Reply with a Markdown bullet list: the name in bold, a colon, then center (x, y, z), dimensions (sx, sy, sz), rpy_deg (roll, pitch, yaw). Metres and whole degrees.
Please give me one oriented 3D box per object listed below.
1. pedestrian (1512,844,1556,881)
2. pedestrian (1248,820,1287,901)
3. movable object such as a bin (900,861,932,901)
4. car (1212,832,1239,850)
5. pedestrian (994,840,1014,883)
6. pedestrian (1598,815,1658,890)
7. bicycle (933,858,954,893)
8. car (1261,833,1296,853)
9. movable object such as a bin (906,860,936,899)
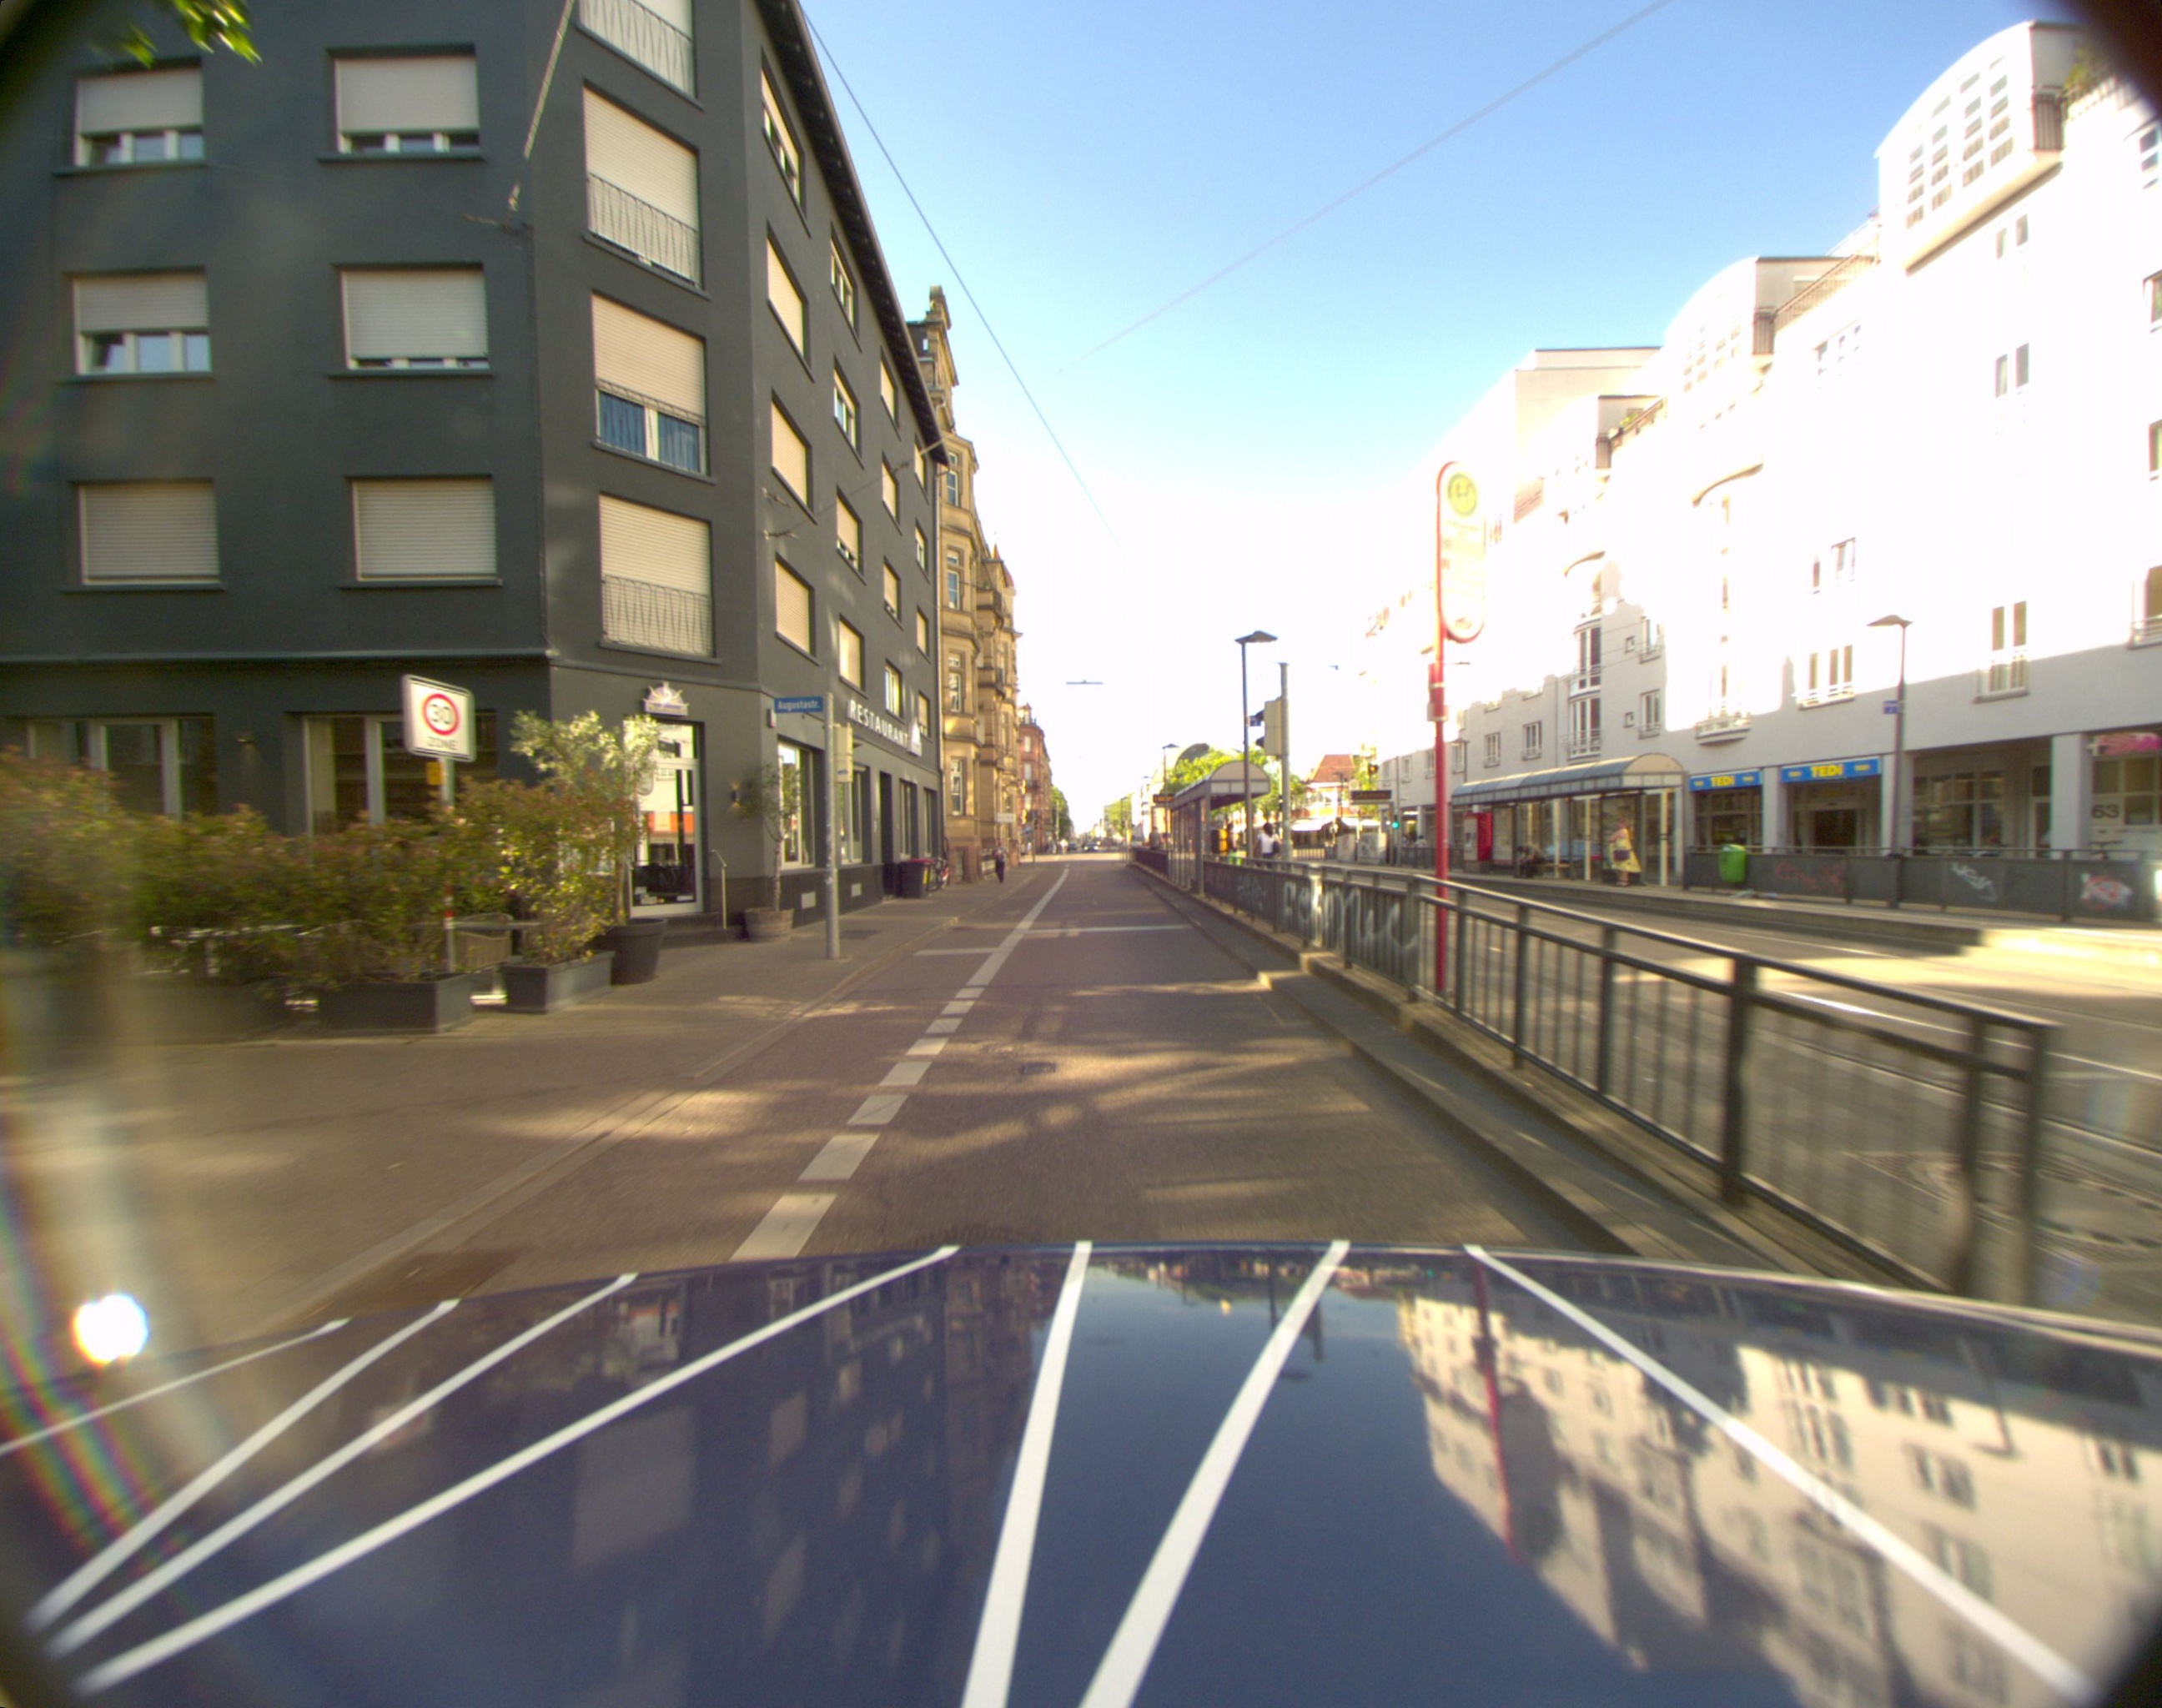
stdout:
- **pedestrian**: center (12.529, 0.223, 21.028), dimensions (0.794, 0.983, 0.747), rpy_deg (-1, 2, 1)
- **pedestrian**: center (3.880, 0.130, 15.815), dimensions (0.716, 1.635, 0.400), rpy_deg (-1, 2, 3)
- **movable object such as a bin**: center (-4.555, 0.741, 21.050), dimensions (0.717, 1.063, 0.636), rpy_deg (-1, 2, -1)
- **car**: center (15.815, -1.464, 83.433), dimensions (1.999, 1.893, 3.998), rpy_deg (-1, 2, -2)
- **pedestrian**: center (-3.044, 0.282, 30.147), dimensions (0.695, 1.681, 0.688), rpy_deg (-1, 2, 0)
- **pedestrian**: center (12.211, -0.046, 16.987), dimensions (0.794, 1.635, 0.747), rpy_deg (-1, 2, 1)
- **bicycle**: center (-4.467, 0.679, 24.767), dimensions (0.377, 1.052, 1.512), rpy_deg (-1, 2, 1)
- **car**: center (16.723, -0.966, 64.486), dimensions (1.998, 1.609, 3.999), rpy_deg (-1, 1, 1)
- **movable object such as a bin**: center (-4.573, 0.723, 21.736), dimensions (0.717, 1.063, 0.637), rpy_deg (-1, 2, 0)
